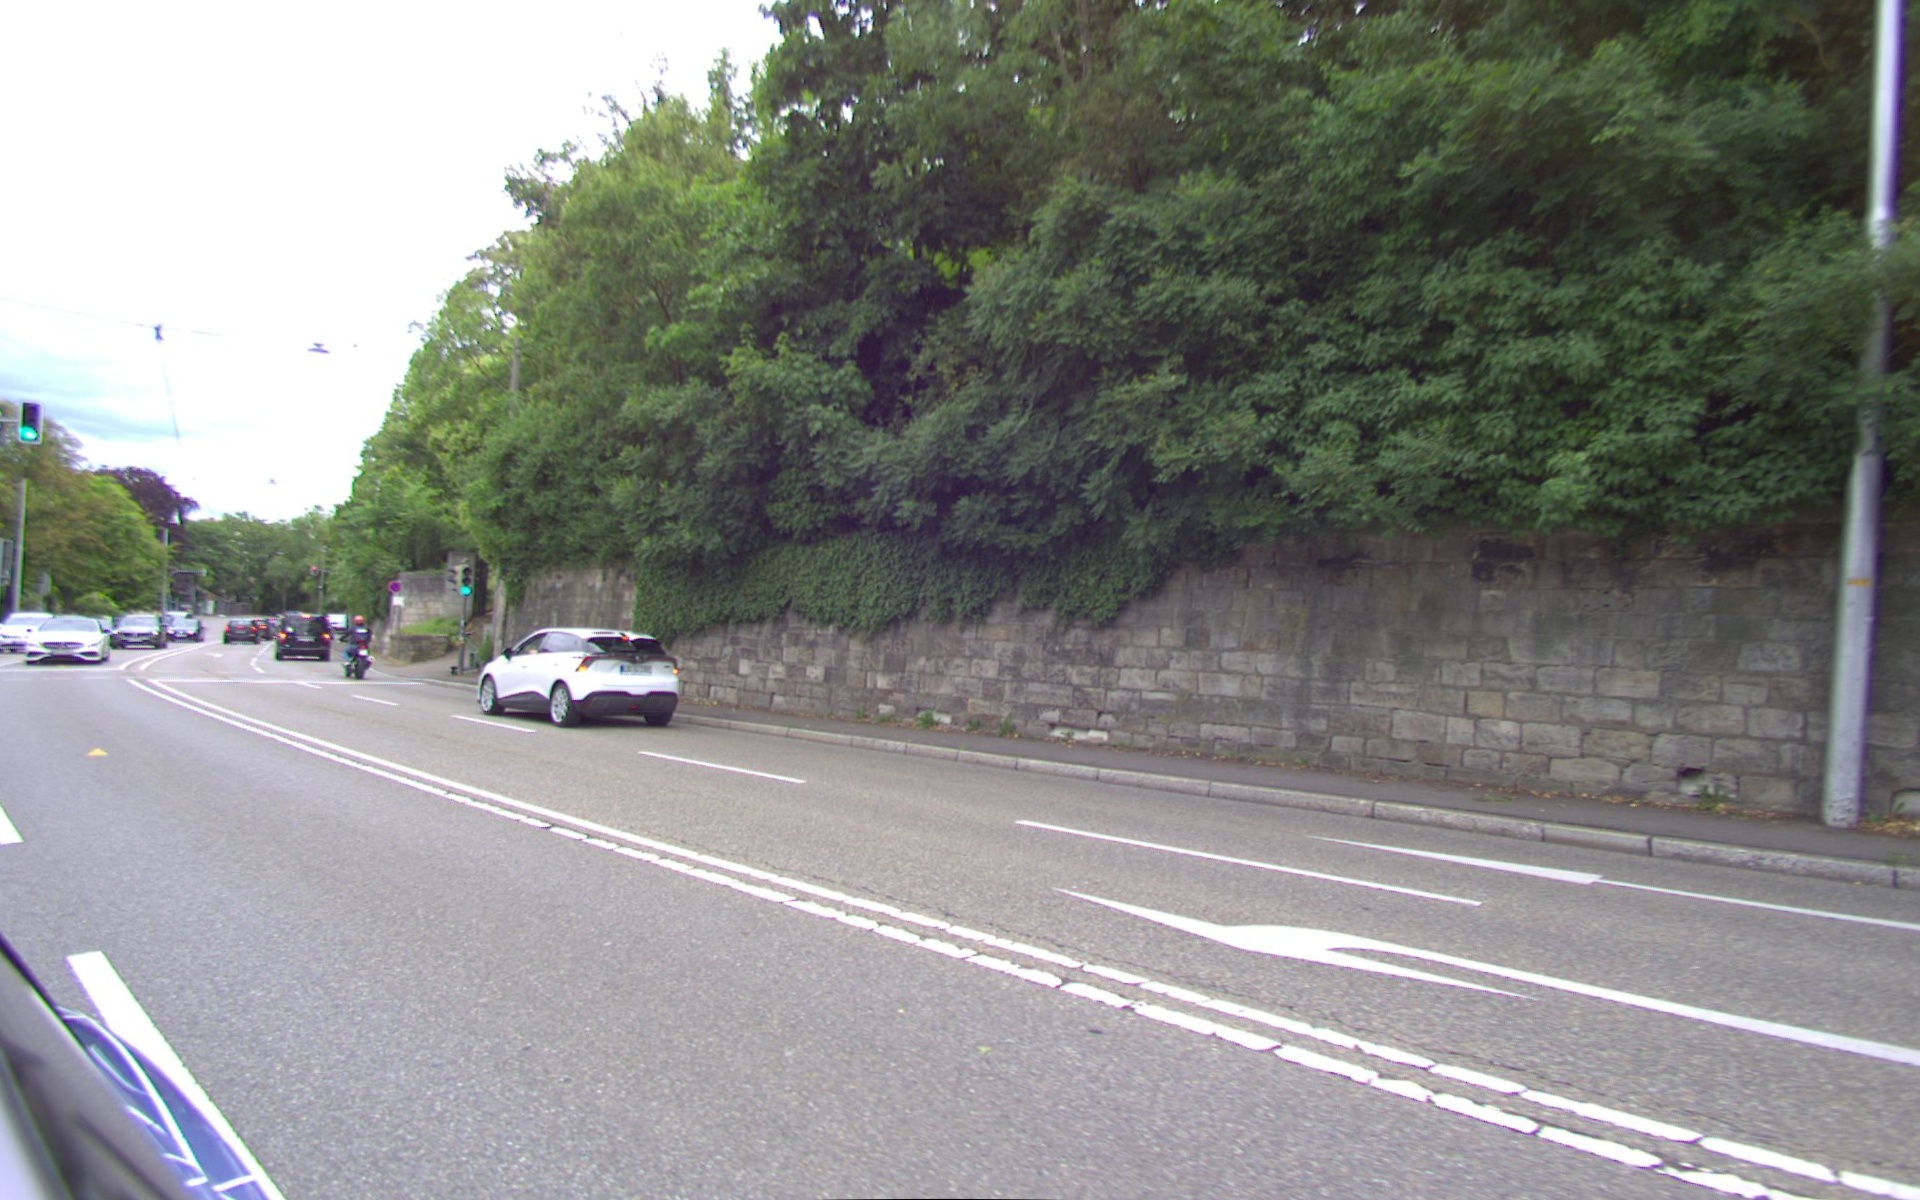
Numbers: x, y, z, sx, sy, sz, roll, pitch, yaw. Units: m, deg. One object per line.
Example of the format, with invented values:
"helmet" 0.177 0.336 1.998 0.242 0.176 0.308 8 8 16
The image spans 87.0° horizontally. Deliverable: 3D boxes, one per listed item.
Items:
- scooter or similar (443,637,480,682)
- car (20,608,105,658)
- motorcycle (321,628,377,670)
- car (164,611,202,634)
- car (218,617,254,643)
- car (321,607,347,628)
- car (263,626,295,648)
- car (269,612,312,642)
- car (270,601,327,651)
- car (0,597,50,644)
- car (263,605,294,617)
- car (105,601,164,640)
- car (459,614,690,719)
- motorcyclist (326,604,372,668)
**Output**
"scooter or similar" -14.829 1.772 30.113 0.429 1.246 1.096 -2 1 6
"car" -27.322 1.015 30.902 1.776 1.401 3.533 4 -4 -40
"motorcycle" -16.811 1.343 27.829 2.308 1.082 0.643 -1 -5 43
"car" -49.441 1.447 64.359 1.807 1.387 4.008 3 -3 -38
"car" -45.417 1.877 63.557 1.731 1.578 3.688 3 -3 -35
"car" -61.949 1.750 100.147 1.867 1.862 4.408 4 -4 -34
"car" -57.063 3.074 84.852 1.932 1.763 4.892 3 -3 -31
"car" -40.642 1.660 61.508 1.966 1.620 4.489 5 -4 -32
"car" -26.204 1.040 40.045 1.720 1.860 4.260 3 -3 -34
"car" -37.564 0.827 40.187 1.928 1.785 4.006 3 -3 -40
"car" -86.508 1.423 128.486 4.449 1.420 1.825 0 -4 37
"car" -38.908 0.992 47.769 1.927 1.753 4.009 3 -3 -37
"car" -6.322 1.029 16.393 4.100 1.478 1.763 -1 -5 42
"motorcyclist" -16.840 0.996 27.891 1.338 1.718 0.641 -1 -5 43
